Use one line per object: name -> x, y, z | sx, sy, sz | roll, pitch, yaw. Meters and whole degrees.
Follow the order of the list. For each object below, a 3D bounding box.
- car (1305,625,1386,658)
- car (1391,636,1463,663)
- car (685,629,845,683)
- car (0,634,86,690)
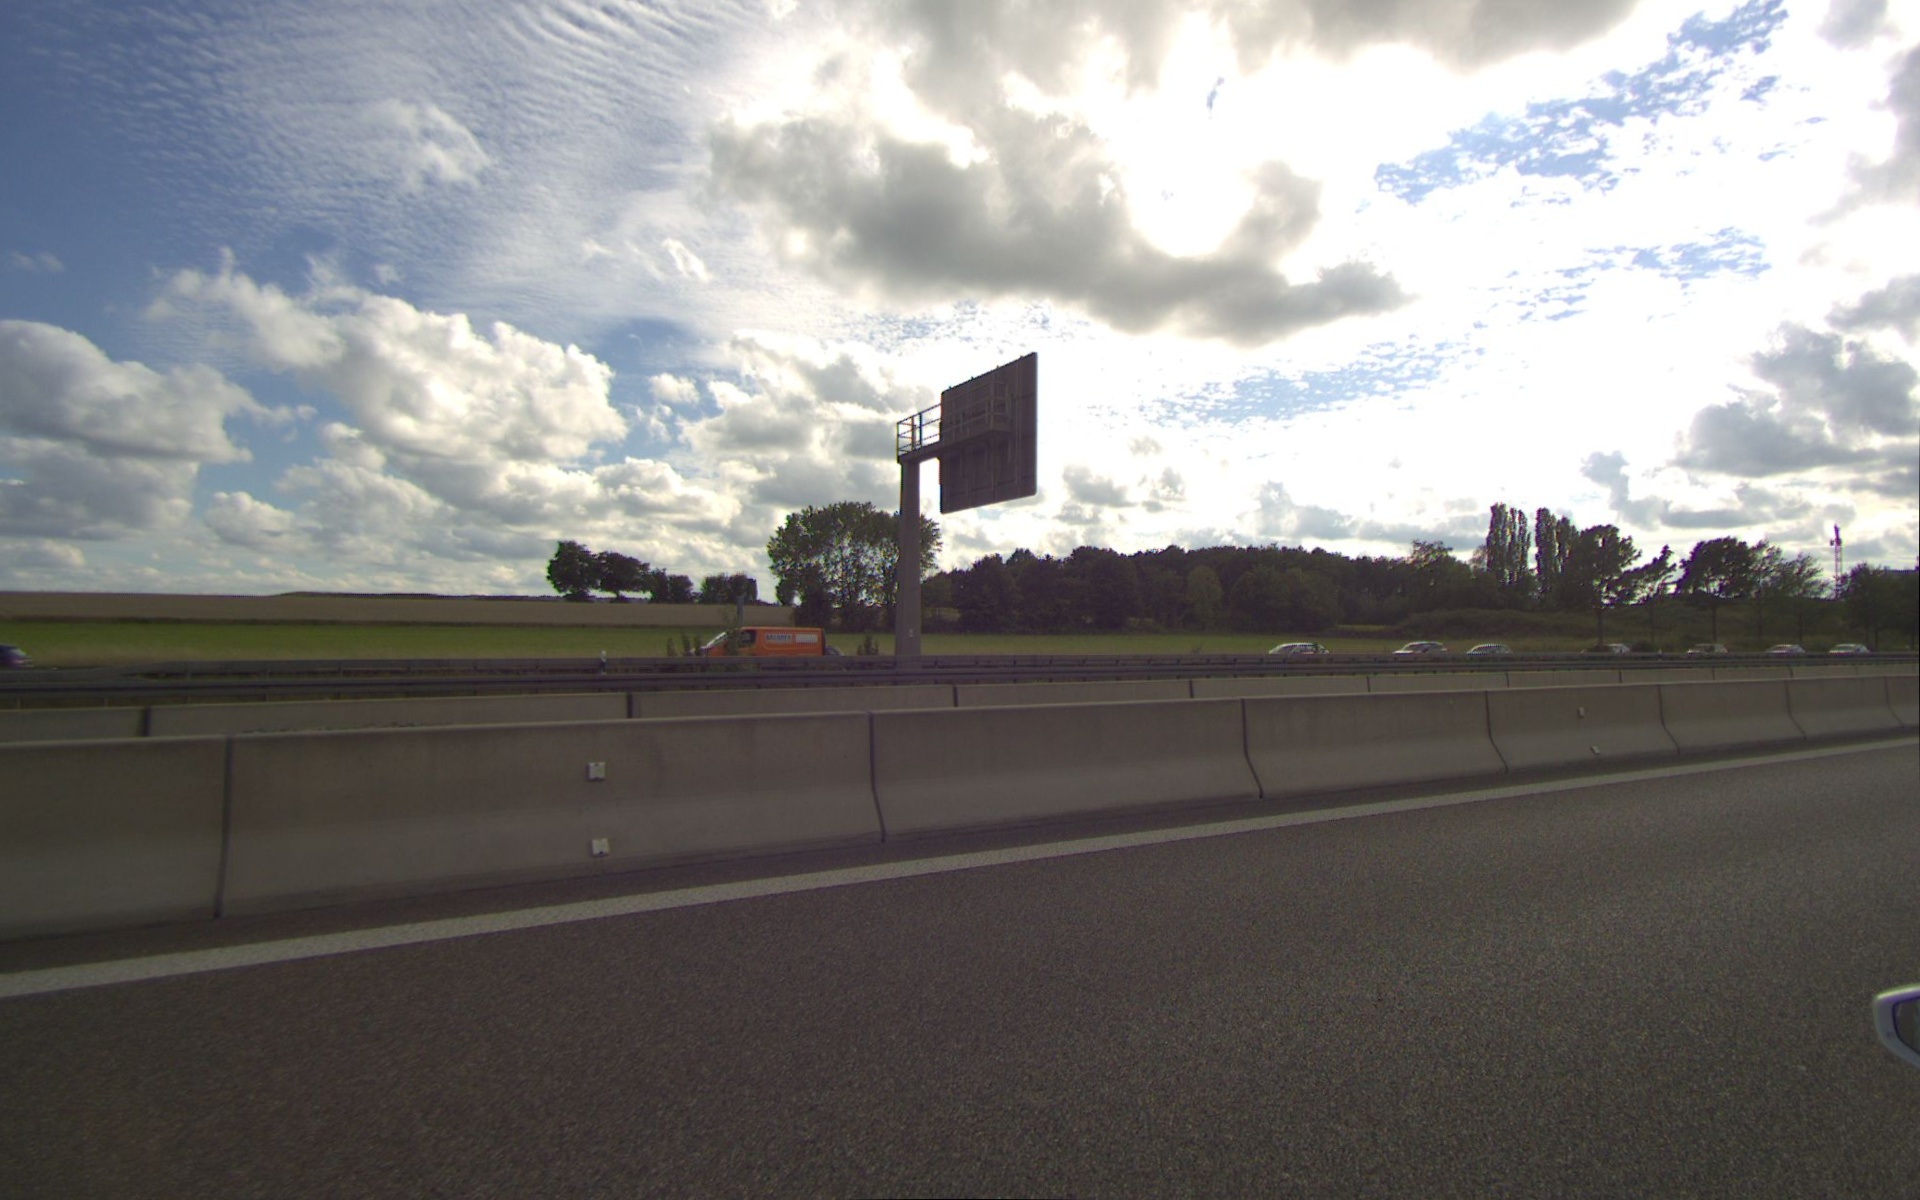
car -> 19.254, 2.084, 50.135 | 3.953, 1.576, 1.658 | 2, -1, -31
car -> 29.924, 3.144, 64.320 | 4.602, 1.653, 1.983 | 2, -1, -31
car -> -6.720, 1.911, 34.796 | 5.077, 1.722, 1.984 | 2, -1, -31
car -> -28.570, 1.816, 29.576 | 3.953, 1.576, 1.658 | 2, -1, -31
